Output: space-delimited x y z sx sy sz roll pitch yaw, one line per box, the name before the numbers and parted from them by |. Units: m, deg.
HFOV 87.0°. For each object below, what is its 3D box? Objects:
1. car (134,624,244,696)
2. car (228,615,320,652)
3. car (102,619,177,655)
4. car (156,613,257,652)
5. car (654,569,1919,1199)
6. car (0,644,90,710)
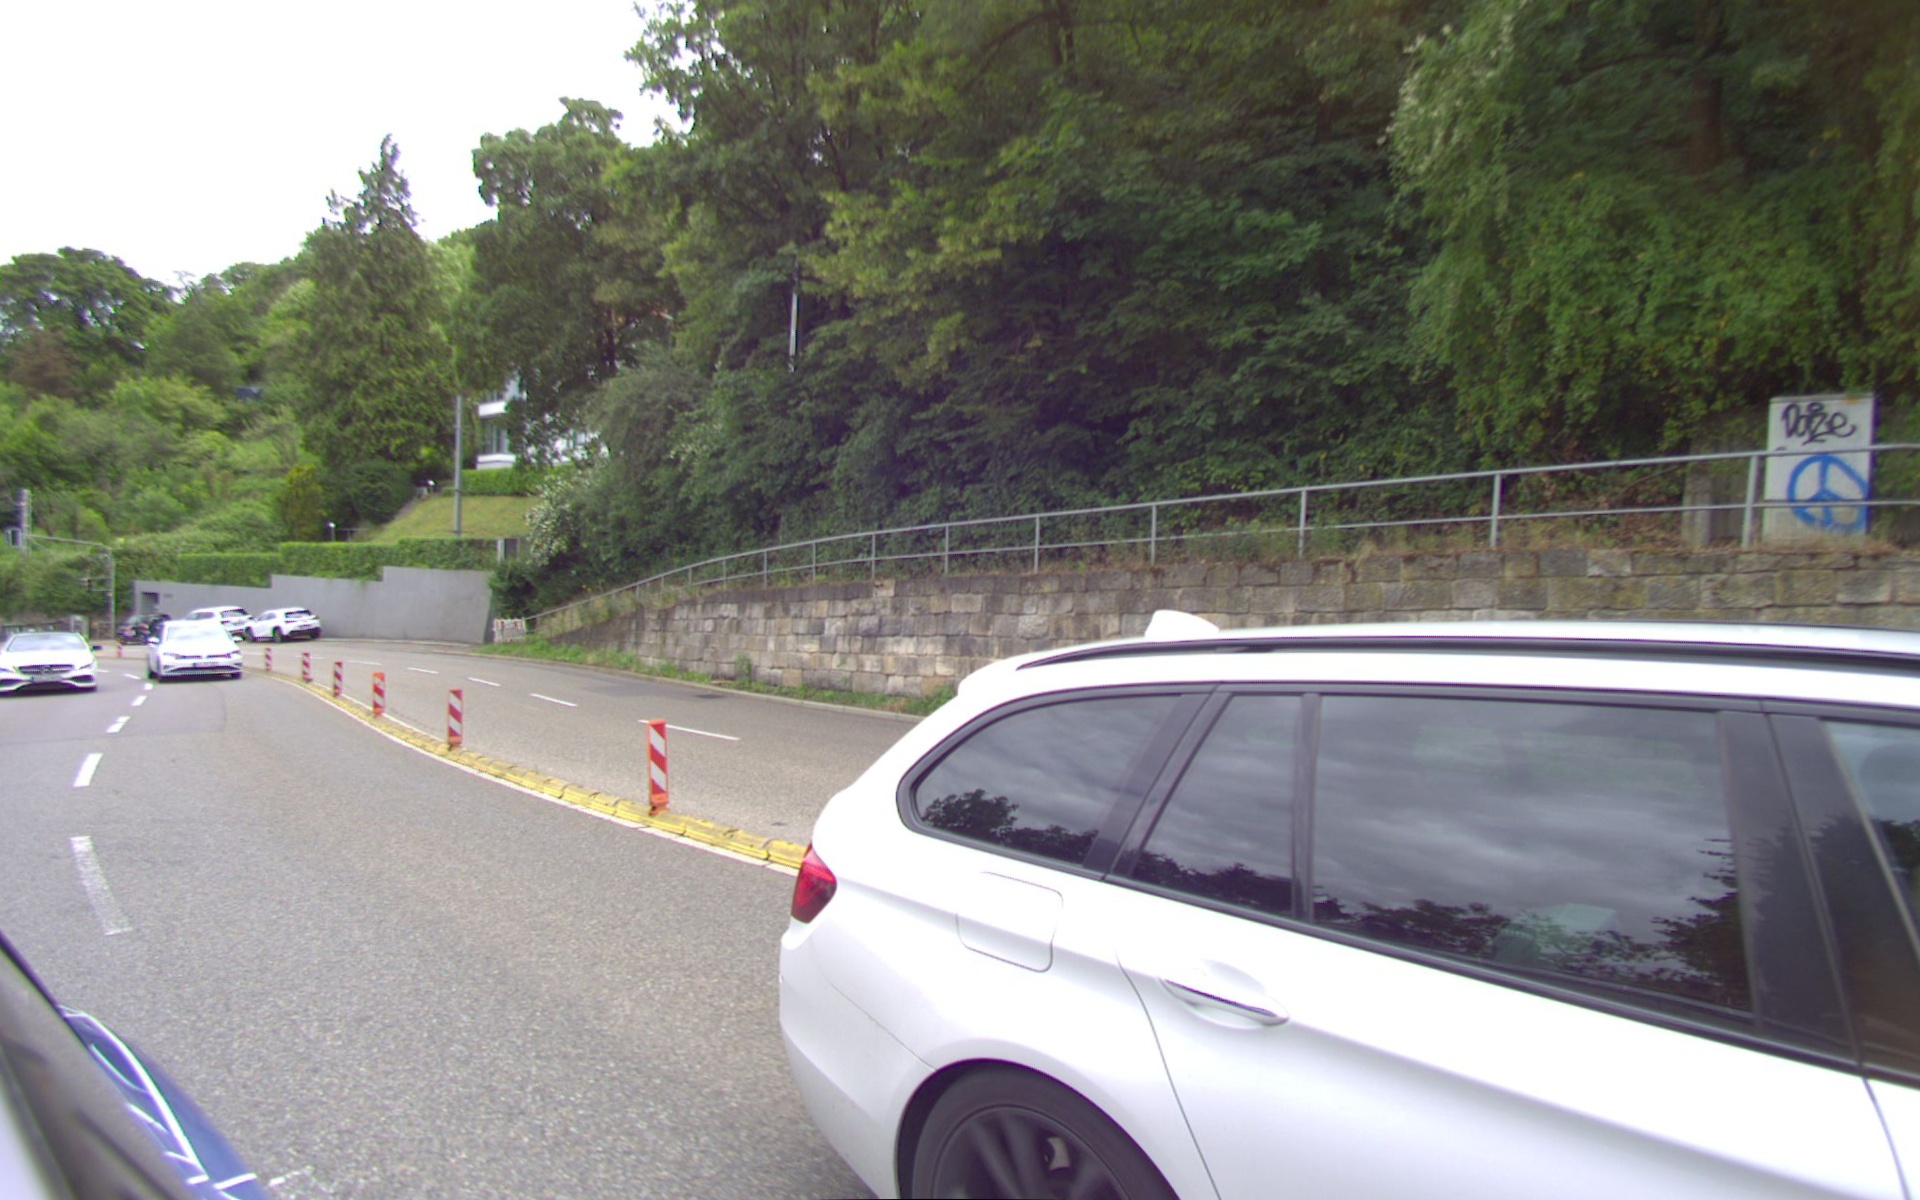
car | -20.725 1.545 27.142 1.859 1.590 4.004 -4 3 -44
car | -32.721 1.582 48.254 4.457 1.584 1.820 -1 2 30
car | -42.544 1.929 52.487 2.937 1.584 1.705 -3 3 21
car | -37.851 1.637 50.853 4.730 1.744 1.851 -1 3 23
car | 1.734 0.715 1.466 4.876 1.477 1.829 0 3 41
car | -21.433 1.738 23.547 1.771 1.316 4.107 -1 -1 -40
